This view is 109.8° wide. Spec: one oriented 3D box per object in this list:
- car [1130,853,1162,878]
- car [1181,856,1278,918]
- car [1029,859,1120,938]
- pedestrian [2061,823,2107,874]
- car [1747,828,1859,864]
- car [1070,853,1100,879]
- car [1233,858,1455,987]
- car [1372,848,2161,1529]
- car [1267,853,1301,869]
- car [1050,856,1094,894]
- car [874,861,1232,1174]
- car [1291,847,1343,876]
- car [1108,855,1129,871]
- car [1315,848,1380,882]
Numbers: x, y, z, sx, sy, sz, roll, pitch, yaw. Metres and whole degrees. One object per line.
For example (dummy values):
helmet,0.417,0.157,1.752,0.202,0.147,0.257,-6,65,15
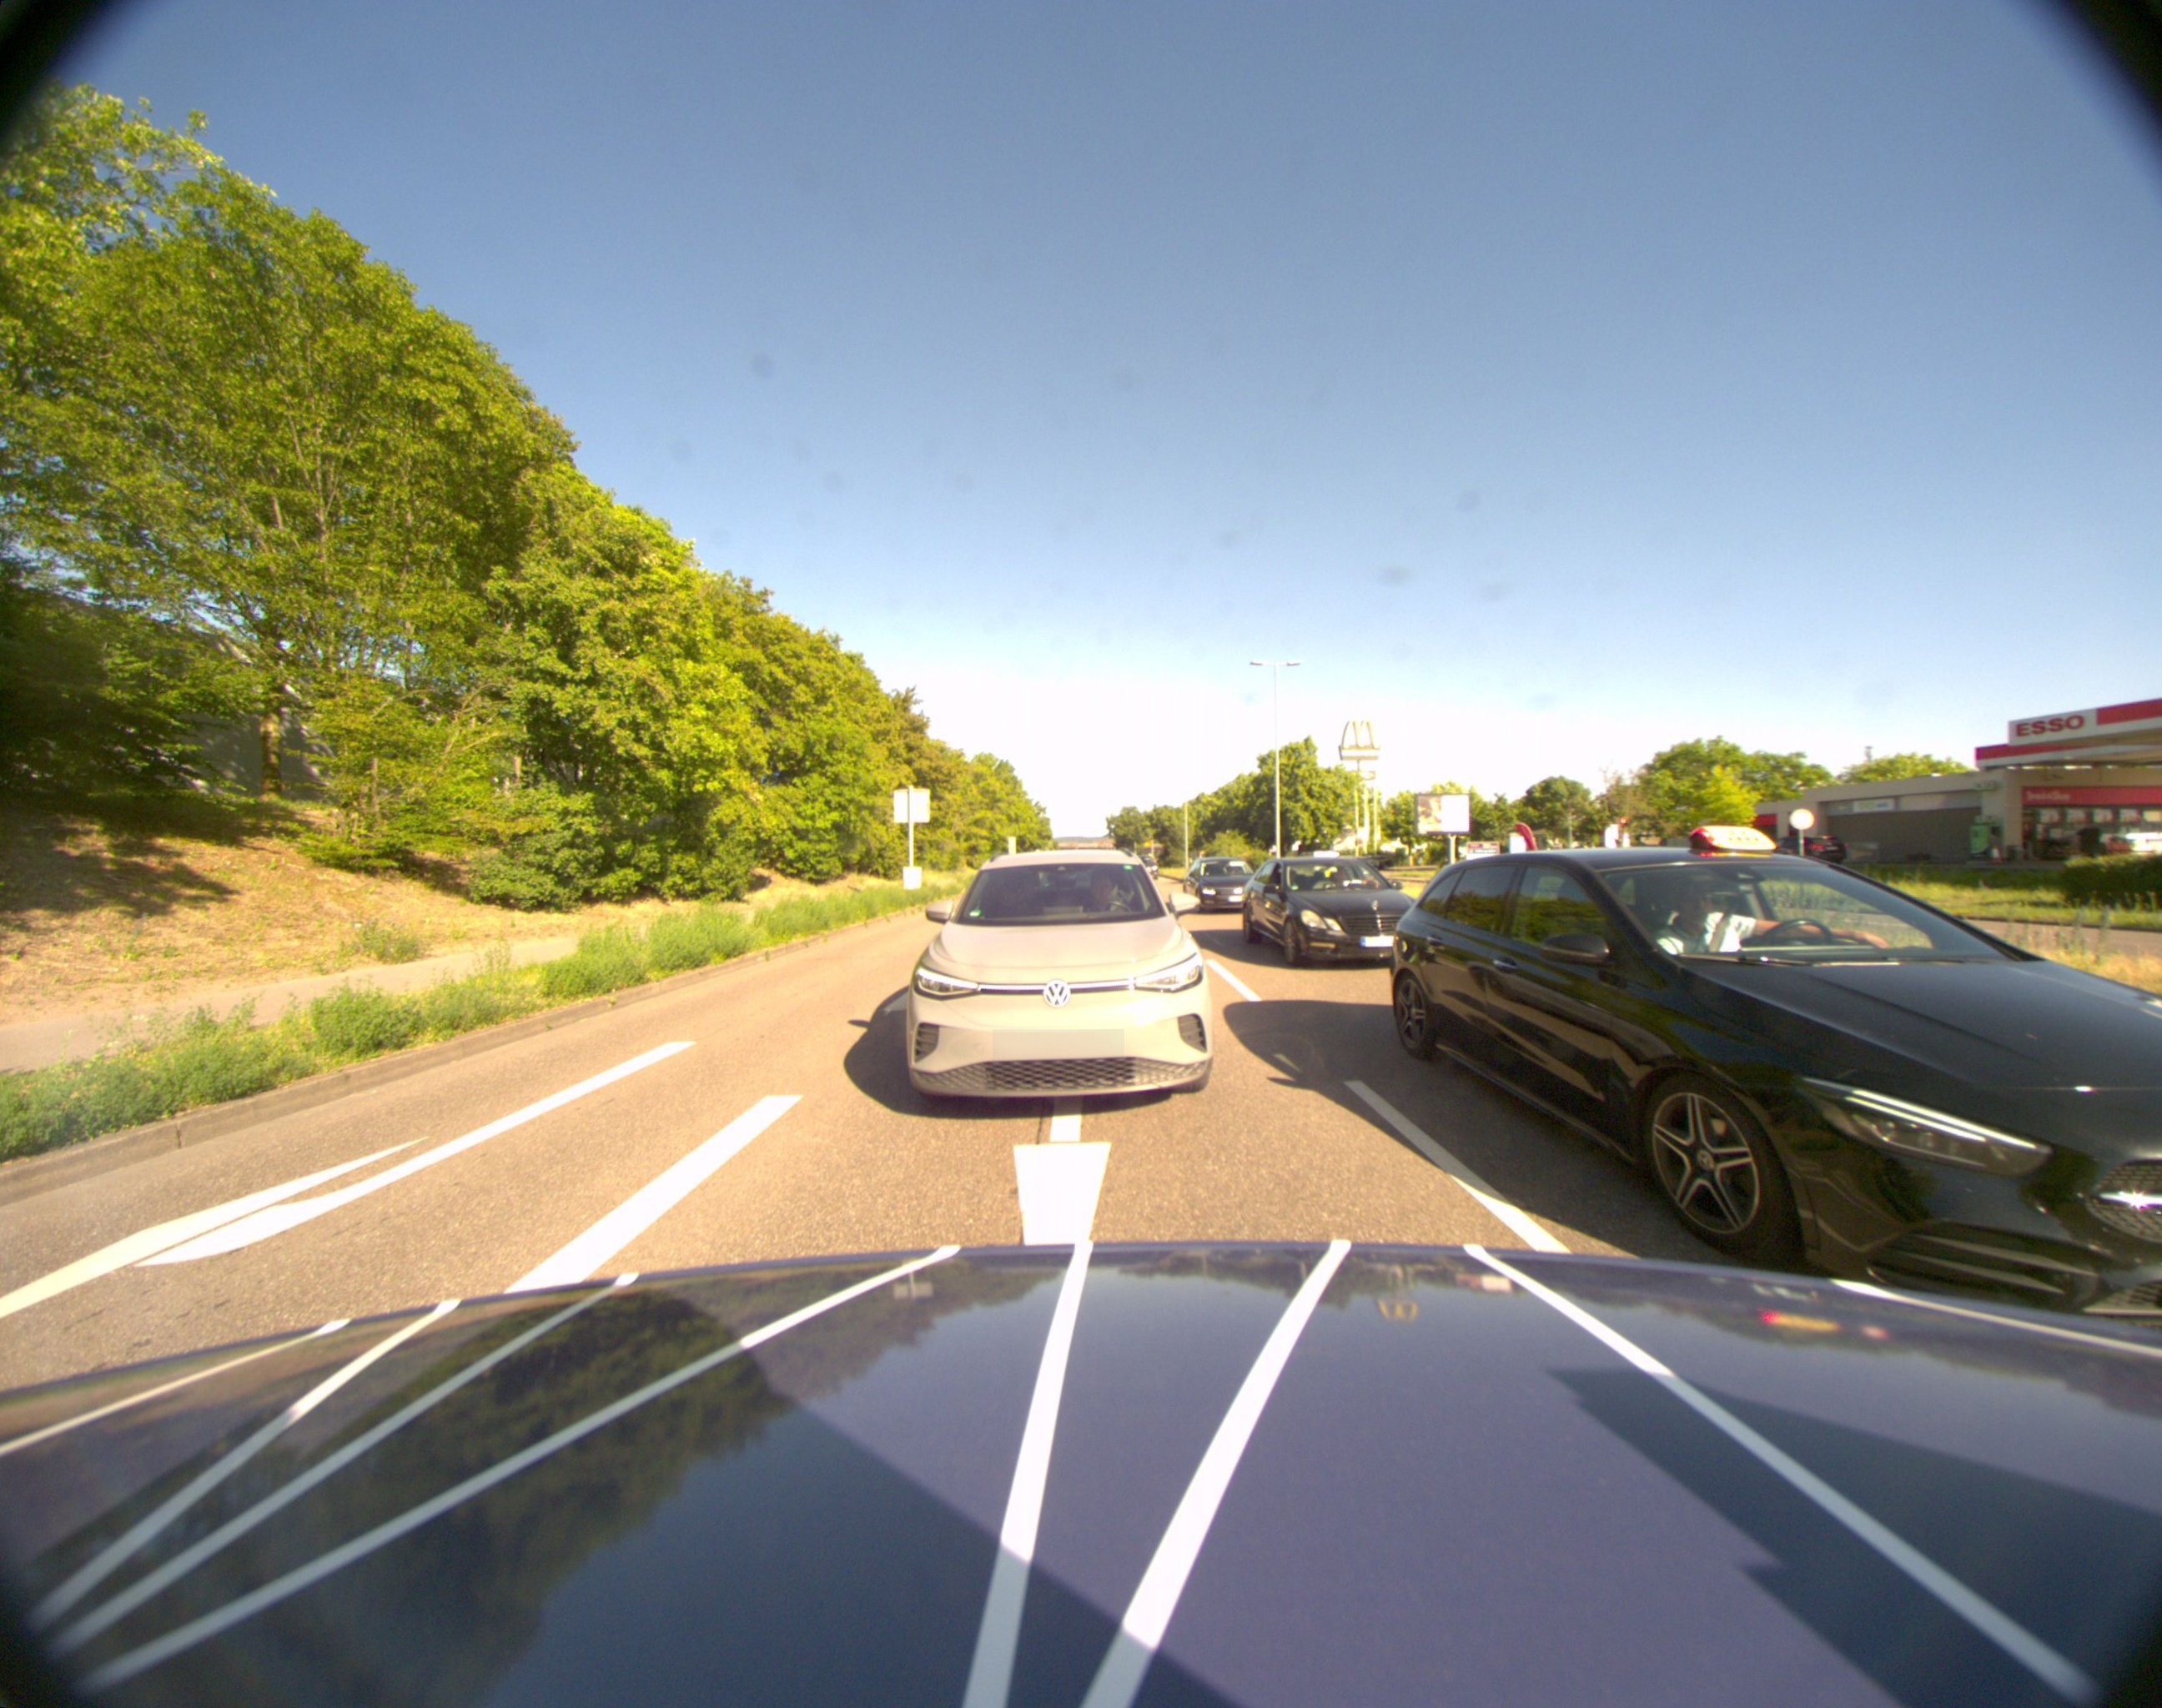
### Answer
car,4.370,0.764,51.786,1.862,1.578,4.403,-1,0,1
car,3.955,0.824,21.004,1.862,1.472,4.403,-1,0,1
car,-0.111,0.894,16.977,1.765,1.503,3.760,-2,0,1
pedestrian,39.683,-0.210,30.059,0.703,2.002,0.840,-1,0,1
car,37.697,-0.404,39.824,1.998,1.759,4.118,-2,0,2
car,0.251,0.734,48.167,1.765,1.503,3.760,-2,0,1
car,3.648,0.845,11.473,1.862,1.515,4.403,-1,0,1
car,3.164,0.805,3.900,1.804,1.616,4.188,-1,0,2
car,19.020,0.653,71.353,1.908,1.437,4.607,1,0,0
car,-0.346,0.882,33.251,1.765,1.503,3.760,-2,0,1
car,-0.124,0.895,6.023,1.871,1.588,3.932,-2,0,1
car,17.290,0.528,55.985,1.999,2.002,5.024,1,0,-3
car,3.728,0.890,76.167,1.862,1.578,4.403,-1,0,1
car,14.114,0.573,40.542,1.884,1.680,4.436,-1,0,0
